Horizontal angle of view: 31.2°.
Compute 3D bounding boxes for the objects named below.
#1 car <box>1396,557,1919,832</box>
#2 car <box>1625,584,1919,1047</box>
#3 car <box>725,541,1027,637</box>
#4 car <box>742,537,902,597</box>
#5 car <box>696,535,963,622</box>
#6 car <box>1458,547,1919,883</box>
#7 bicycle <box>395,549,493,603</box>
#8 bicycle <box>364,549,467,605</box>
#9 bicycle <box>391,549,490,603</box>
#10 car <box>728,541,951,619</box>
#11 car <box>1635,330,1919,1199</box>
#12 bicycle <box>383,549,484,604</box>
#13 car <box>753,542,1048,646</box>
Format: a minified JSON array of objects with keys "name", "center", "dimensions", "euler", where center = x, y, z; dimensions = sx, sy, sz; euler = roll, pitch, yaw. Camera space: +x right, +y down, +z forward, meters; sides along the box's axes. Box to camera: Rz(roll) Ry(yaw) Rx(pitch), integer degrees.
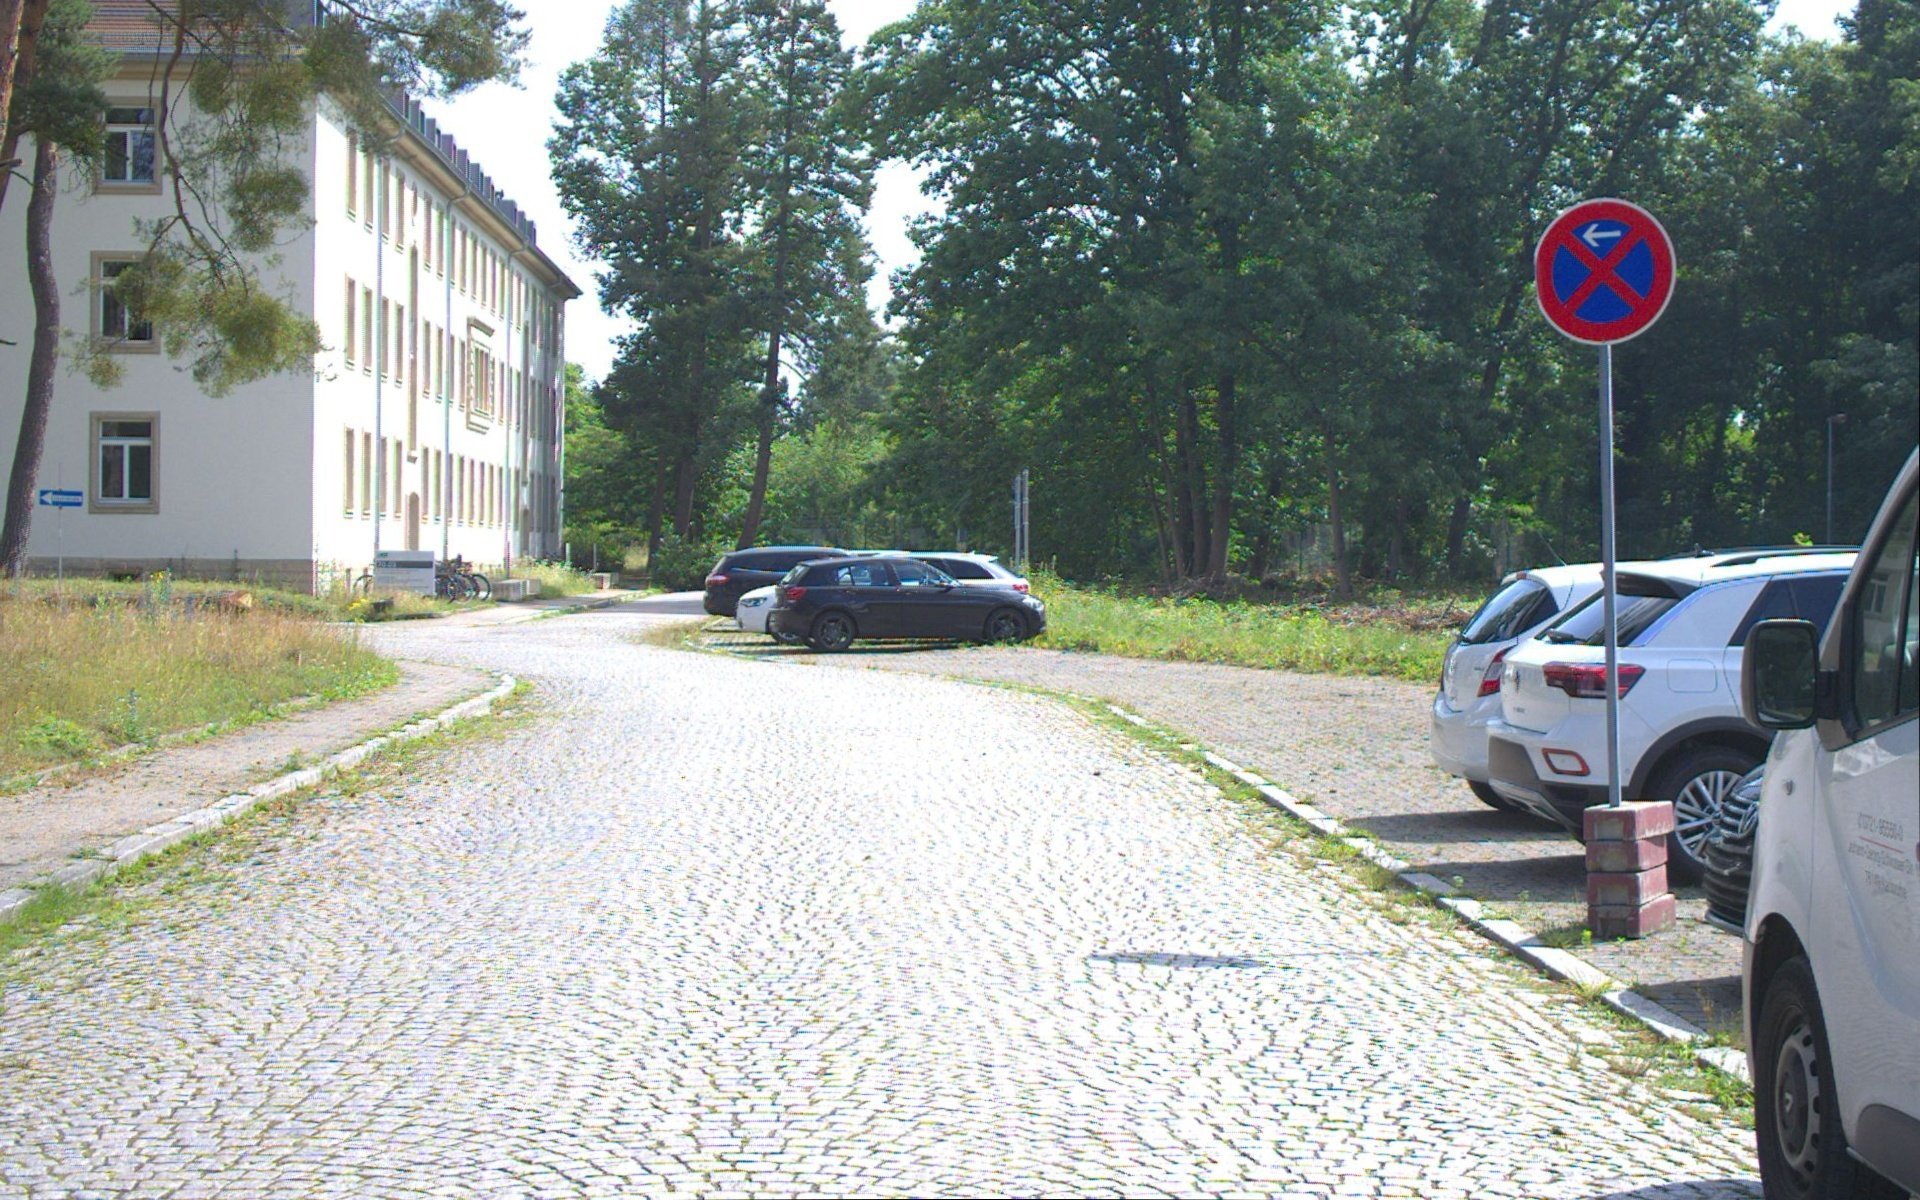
[{"name":"car","center":[4.694,0.501,19.855],"dimensions":[4.041,1.459,1.704],"euler":[-1,1,-4]},{"name":"car","center":[4.809,0.671,12.267],"dimensions":[4.453,1.470,1.746],"euler":[-1,1,-6]},{"name":"car","center":[-1.403,-0.195,56.431],"dimensions":[4.861,1.467,1.875],"euler":[-1,2,-3]},{"name":"car","center":[-3.657,-0.886,91.859],"dimensions":[4.187,1.538,1.820],"euler":[-1,0,0]},{"name":"car","center":[-2.436,-0.400,63.754],"dimensions":[4.852,1.547,1.880],"euler":[-1,0,-3]},{"name":"car","center":[4.592,0.498,16.716],"dimensions":[3.986,1.501,1.747],"euler":[-1,1,-4]},{"name":"bicycle","center":[-12.233,-0.579,81.558],"dimensions":[2.222,1.256,0.623],"euler":[0,1,0]},{"name":"bicycle","center":[-12.318,-0.525,77.808],"dimensions":[2.222,1.256,0.623],"euler":[0,1,4]},{"name":"bicycle","center":[-12.175,-0.565,80.550],"dimensions":[2.222,1.256,0.623],"euler":[0,1,0]},{"name":"car","center":[-2.440,-0.403,69.072],"dimensions":[4.398,1.479,1.766],"euler":[-1,0,-3]},{"name":"car","center":[2.781,0.522,6.140],"dimensions":[1.914,2.046,5.679],"euler":[0,1,-1]},{"name":"bicycle","center":[-12.177,-0.547,79.554],"dimensions":[2.222,1.256,0.623],"euler":[0,1,4]},{"name":"car","center":[-0.943,-0.113,53.344],"dimensions":[4.323,1.495,1.830],"euler":[-1,2,-10]}]
